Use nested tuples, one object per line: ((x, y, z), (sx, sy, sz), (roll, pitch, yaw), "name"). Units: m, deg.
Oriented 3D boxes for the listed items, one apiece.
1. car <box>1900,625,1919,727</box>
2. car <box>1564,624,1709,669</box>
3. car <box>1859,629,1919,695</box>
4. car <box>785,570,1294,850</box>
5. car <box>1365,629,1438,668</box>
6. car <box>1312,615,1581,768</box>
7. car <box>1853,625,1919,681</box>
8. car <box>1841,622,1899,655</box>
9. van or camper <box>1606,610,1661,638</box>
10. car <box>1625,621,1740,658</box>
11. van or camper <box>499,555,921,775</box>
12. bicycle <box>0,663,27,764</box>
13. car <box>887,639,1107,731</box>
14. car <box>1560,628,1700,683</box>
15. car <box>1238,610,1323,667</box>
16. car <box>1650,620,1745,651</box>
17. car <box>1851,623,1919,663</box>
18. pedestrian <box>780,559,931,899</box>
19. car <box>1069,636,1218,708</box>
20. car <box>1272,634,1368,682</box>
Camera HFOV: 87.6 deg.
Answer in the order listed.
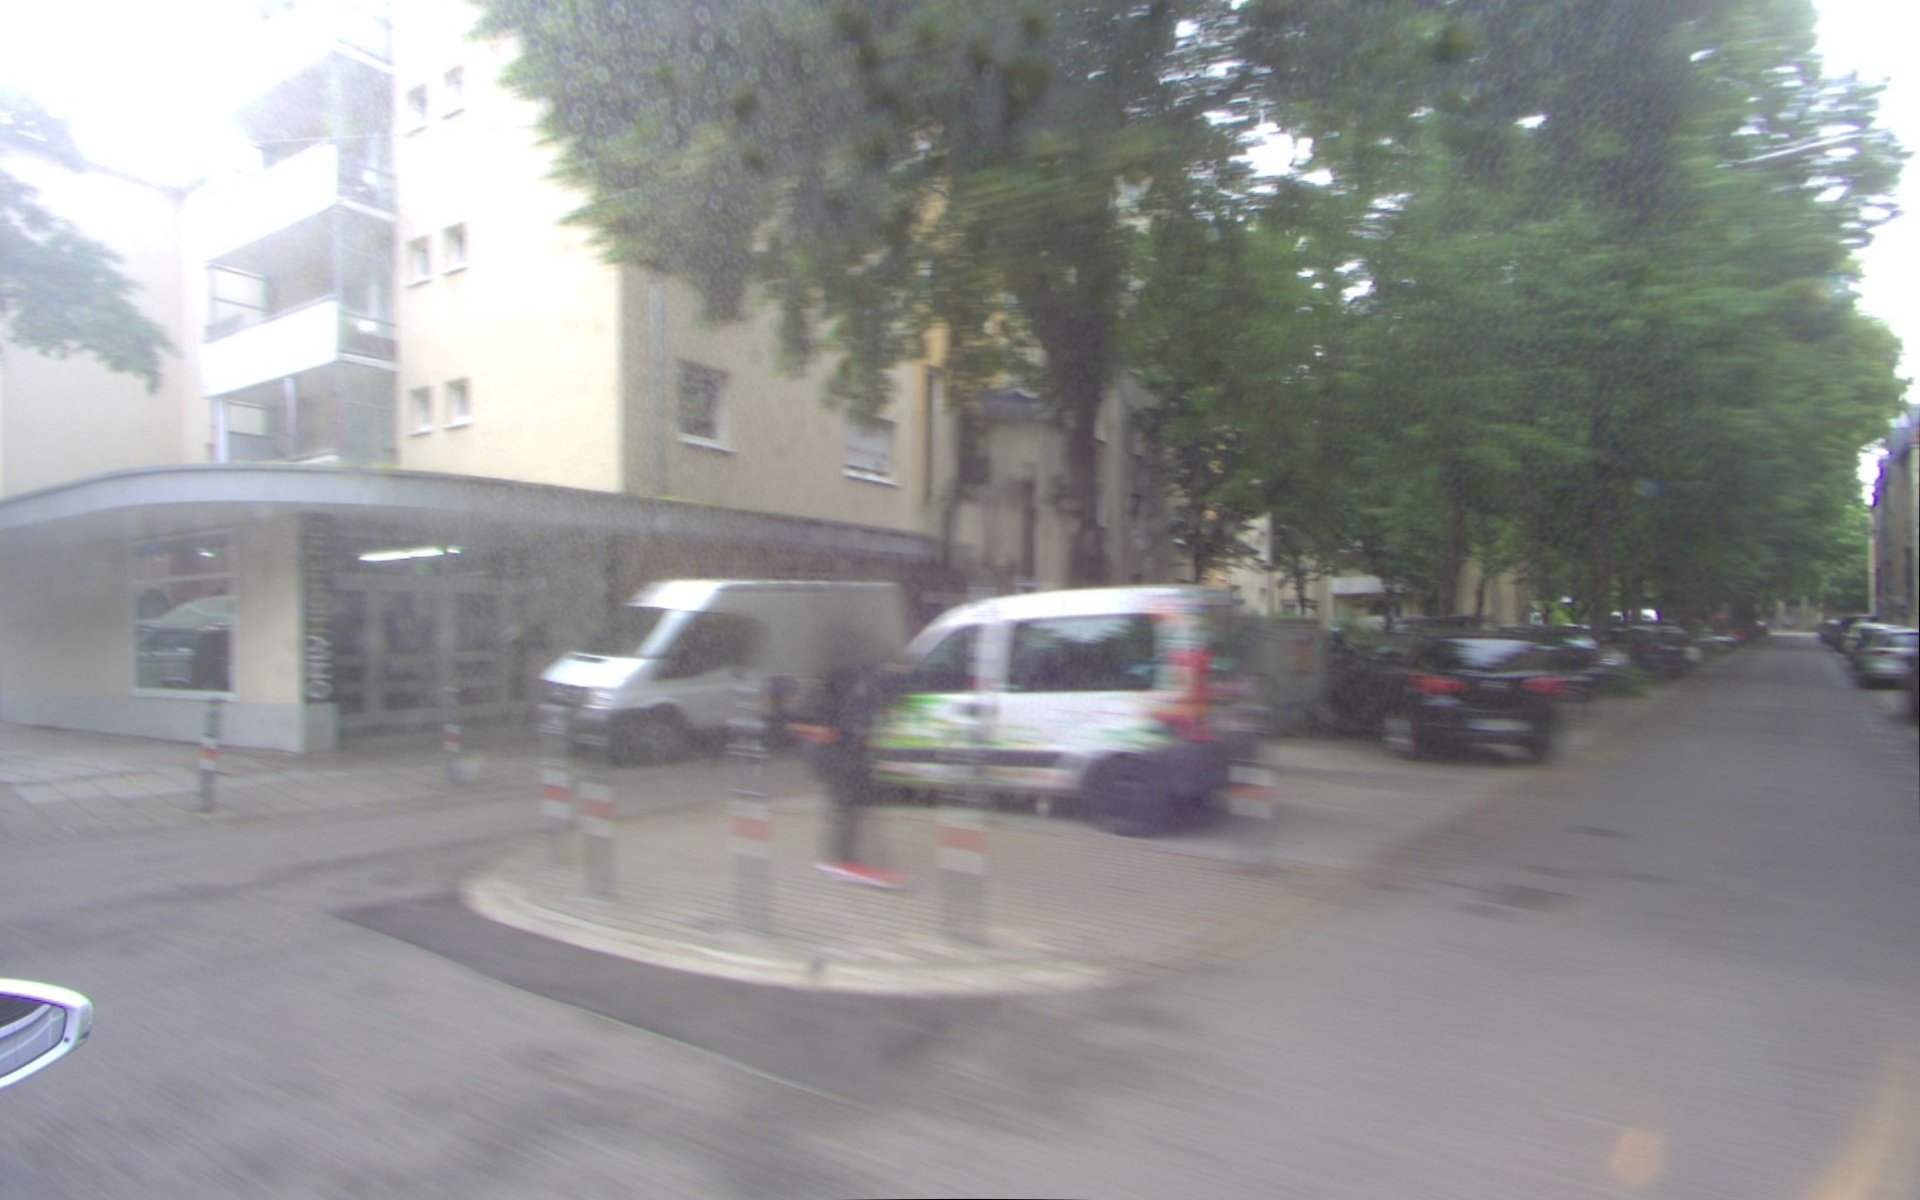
((16.821, 1.152, 16.369), (1.979, 1.552, 4.296), (-4, -4, 42), "car")
((22.943, 1.536, 34.125), (1.707, 1.408, 3.996), (0, -1, -13), "car")
((23.748, 1.496, 25.012), (1.826, 1.514, 4.238), (-4, -4, 42), "car")
((0.574, 0.790, 8.468), (3.946, 1.842, 1.766), (-2, -2, 34), "car")
((16.812, 1.854, 38.048), (1.493, 1.385, 3.492), (-3, -4, 42), "car")
((5.829, 1.010, 12.559), (1.652, 1.601, 3.953), (1, -1, 4), "car")
((27.589, 1.509, 29.364), (1.979, 1.514, 4.296), (-4, -4, 42), "car")
((43.961, 1.838, 48.392), (1.978, 1.515, 4.296), (-2, -2, 42), "car")
((76.363, 2.746, 113.645), (4.966, 3.074, 1.992), (-1, -1, 29), "van or camper")
((32.039, 1.722, 44.535), (1.707, 1.550, 3.996), (0, -1, -13), "car")
((-3.274, 0.758, 14.403), (2.109, 2.528, 5.748), (3, 1, 39), "van or camper")
((-12.251, 1.372, 12.099), (1.665, 1.189, 0.550), (-1, -1, 10), "bicycle")
((0.791, 1.499, 18.841), (1.887, 1.447, 4.144), (-1, -2, 43), "car")
((19.532, 1.579, 29.392), (1.632, 1.483, 4.001), (-1, -1, 4), "car")
((12.377, 1.455, 38.497), (1.974, 2.039, 3.975), (-1, -2, 36), "car")
((40.113, 1.915, 54.585), (1.707, 1.632, 3.996), (0, -1, -13), "car")
((38.188, 1.745, 41.385), (1.978, 1.515, 4.296), (-2, -2, 42), "car")
((-0.592, 0.704, 5.824), (0.502, 1.820, 0.777), (-1, -1, 33), "pedestrian")
((4.232, 1.562, 22.784), (1.614, 1.447, 3.675), (-1, -2, 43), "car")
((10.981, 1.762, 30.439), (1.493, 1.385, 3.492), (-3, -4, 42), "car")
